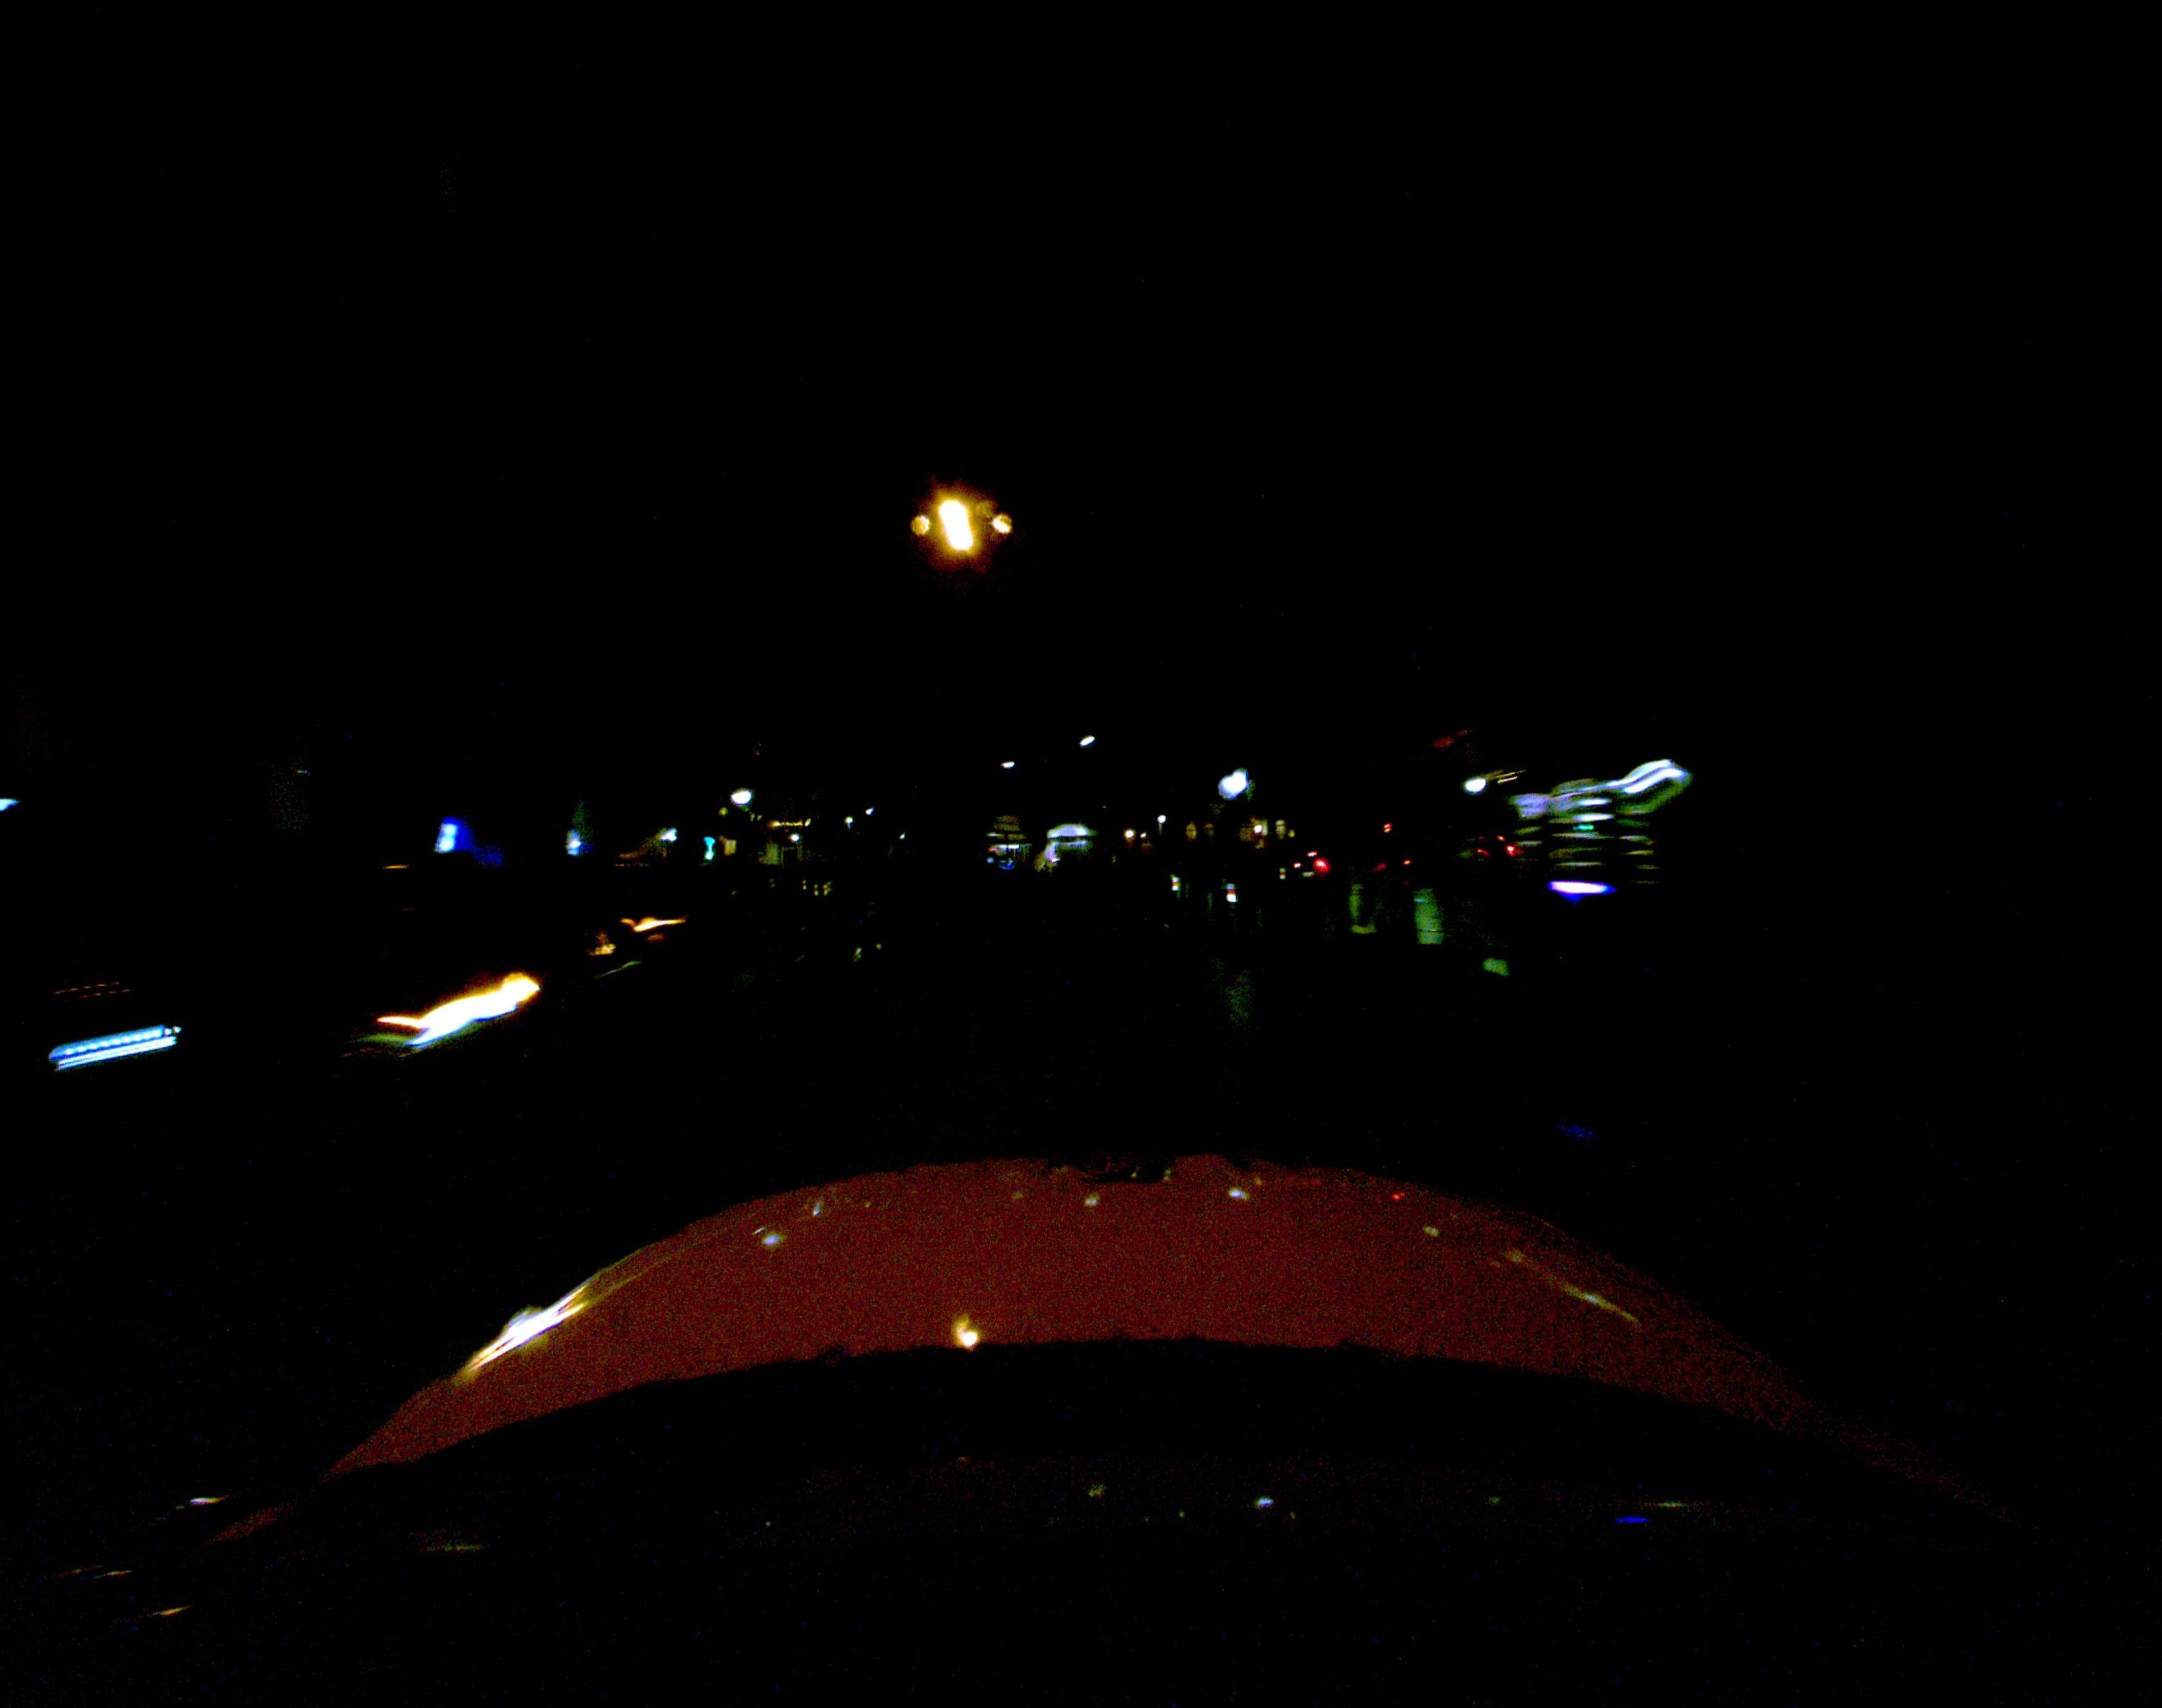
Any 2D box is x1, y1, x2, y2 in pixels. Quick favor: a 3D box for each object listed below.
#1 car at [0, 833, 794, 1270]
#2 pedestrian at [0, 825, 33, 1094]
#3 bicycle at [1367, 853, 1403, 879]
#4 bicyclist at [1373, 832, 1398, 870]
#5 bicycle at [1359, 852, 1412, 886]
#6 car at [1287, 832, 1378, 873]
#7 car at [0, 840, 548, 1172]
[{"bbox_3d":[-3.621,0.751,5.536,1.917,1.618,4.568,-3,1,-4],"label":"car"},{"bbox_3d":[-8.163,0.769,5.726,0.659,1.974,0.764,1,-1,-25],"label":"pedestrian"},{"bbox_3d":[13.749,0.555,36.829,1.724,1.149,0.767,1,-1,-39],"label":"bicycle"},{"bbox_3d":[13.756,-0.119,36.831,0.711,1.675,0.790,1,-1,-39],"label":"bicyclist"},{"bbox_3d":[10.024,0.483,26.874,0.453,1.059,1.645,-2,0,-37],"label":"bicycle"},{"bbox_3d":[10.385,-0.028,33.612,3.473,1.613,1.719,1,0,-32],"label":"car"},{"bbox_3d":[-6.584,0.797,6.457,1.828,1.717,4.590,-1,0,-3],"label":"car"}]
